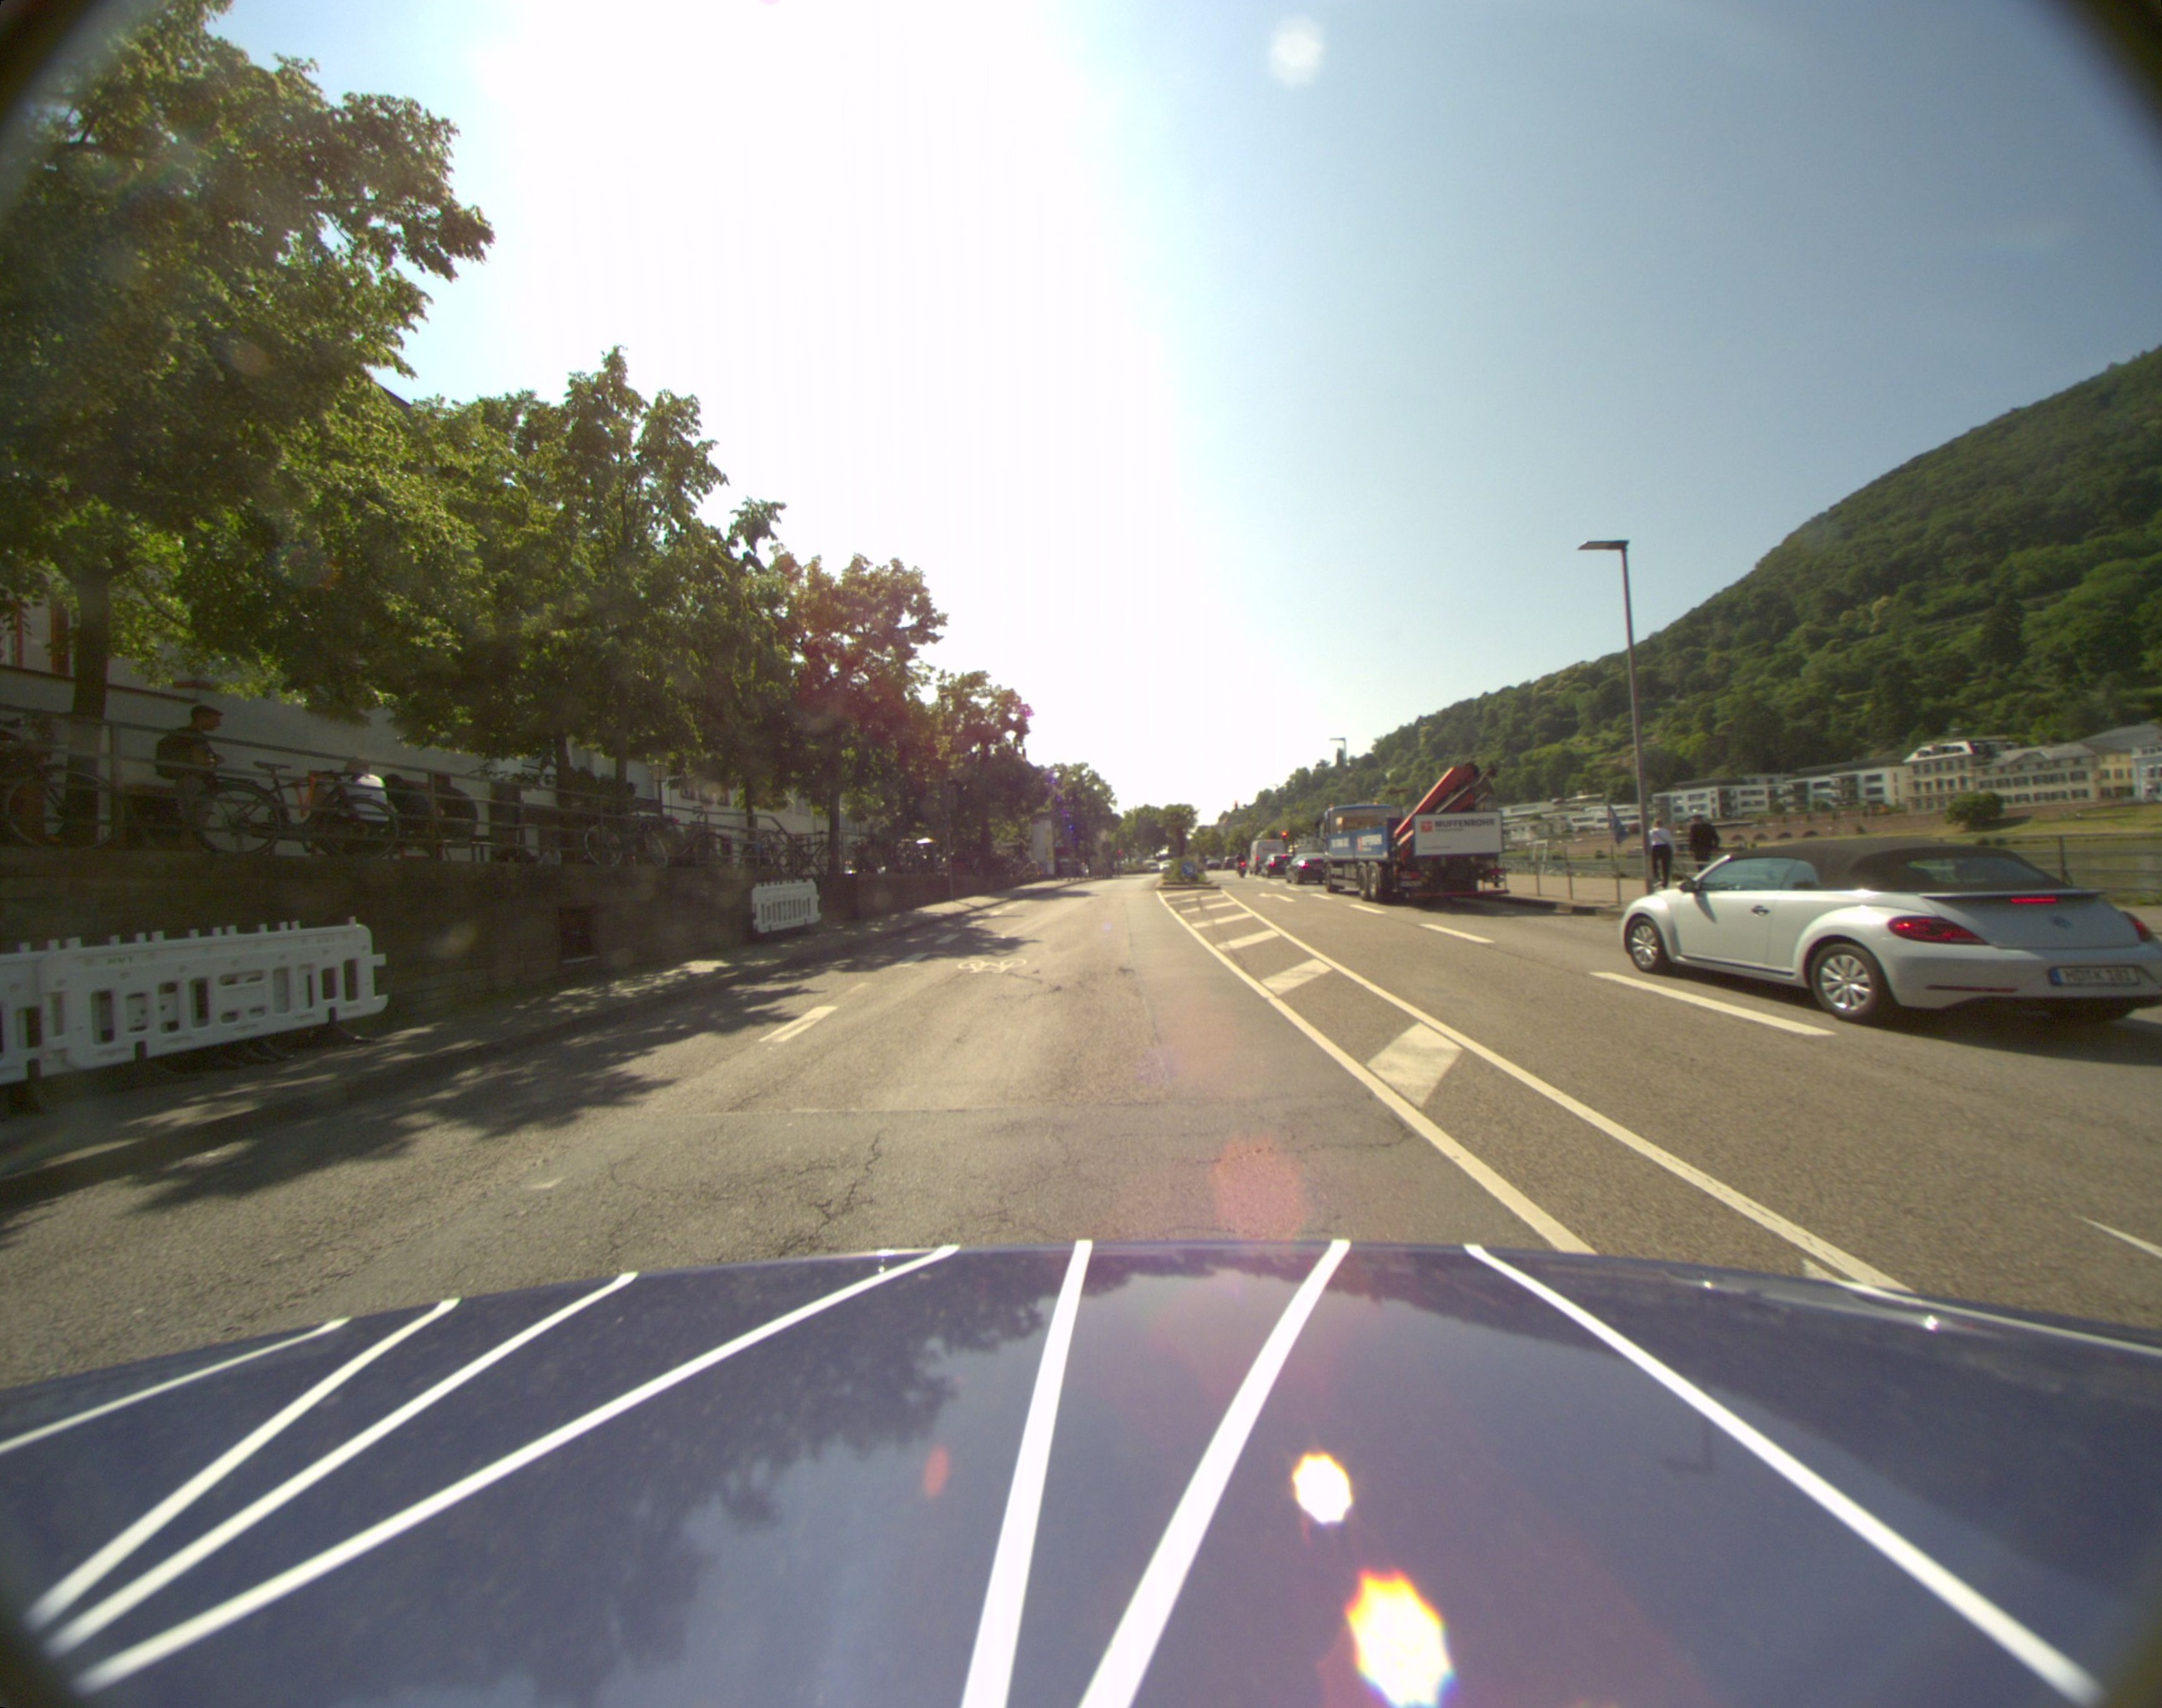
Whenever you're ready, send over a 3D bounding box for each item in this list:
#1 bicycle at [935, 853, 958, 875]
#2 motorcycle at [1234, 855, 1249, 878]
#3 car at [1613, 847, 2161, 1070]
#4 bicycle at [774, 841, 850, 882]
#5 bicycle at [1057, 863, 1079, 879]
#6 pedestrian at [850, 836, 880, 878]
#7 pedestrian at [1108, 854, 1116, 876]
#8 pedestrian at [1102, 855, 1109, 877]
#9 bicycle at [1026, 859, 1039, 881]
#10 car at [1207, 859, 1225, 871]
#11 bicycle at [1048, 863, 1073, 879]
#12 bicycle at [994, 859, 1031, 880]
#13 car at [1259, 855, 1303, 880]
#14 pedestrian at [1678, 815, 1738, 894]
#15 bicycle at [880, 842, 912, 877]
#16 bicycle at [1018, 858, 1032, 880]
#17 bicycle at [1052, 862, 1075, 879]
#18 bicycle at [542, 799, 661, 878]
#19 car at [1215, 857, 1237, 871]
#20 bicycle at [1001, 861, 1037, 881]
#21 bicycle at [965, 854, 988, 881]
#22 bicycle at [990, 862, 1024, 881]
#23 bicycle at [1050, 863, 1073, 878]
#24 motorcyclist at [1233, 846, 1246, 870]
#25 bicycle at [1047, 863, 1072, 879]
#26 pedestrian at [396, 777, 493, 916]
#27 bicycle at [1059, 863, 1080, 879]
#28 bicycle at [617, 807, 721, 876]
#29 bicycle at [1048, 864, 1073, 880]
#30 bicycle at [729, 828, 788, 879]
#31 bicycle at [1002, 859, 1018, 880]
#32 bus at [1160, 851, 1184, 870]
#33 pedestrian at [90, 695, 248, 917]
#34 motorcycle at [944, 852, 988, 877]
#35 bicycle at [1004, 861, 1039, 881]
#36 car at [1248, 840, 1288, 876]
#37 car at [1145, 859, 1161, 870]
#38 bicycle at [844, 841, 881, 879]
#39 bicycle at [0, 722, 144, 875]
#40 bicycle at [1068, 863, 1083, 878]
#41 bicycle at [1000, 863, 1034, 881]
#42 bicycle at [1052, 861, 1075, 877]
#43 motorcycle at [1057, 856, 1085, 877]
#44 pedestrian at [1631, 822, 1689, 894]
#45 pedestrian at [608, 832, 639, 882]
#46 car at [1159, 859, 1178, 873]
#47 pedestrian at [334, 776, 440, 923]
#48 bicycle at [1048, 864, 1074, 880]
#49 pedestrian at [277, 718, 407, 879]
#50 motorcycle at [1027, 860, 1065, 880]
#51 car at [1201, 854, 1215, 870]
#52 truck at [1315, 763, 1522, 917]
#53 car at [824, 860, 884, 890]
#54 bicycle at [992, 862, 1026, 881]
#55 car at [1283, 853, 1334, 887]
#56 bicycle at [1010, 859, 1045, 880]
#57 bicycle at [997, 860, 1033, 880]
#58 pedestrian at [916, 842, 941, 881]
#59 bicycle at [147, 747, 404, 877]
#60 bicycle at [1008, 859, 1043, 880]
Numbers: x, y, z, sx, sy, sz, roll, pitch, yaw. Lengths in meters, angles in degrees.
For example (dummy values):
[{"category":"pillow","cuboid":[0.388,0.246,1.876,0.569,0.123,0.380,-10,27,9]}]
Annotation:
[{"category":"bicycle","cuboid":[-5.006,0.375,28.294,0.350,0.779,1.920,-2,-1,4]},{"category":"motorcycle","cuboid":[10.073,0.790,47.791,0.727,1.379,2.513,-2,0,8]},{"category":"car","cuboid":[7.042,0.695,6.988,1.781,1.435,3.999,-2,0,6]},{"category":"bicycle","cuboid":[-6.918,0.194,19.561,1.858,0.998,0.299,-2,-1,4]},{"category":"bicycle","cuboid":[-1.011,1.272,57.368,1.628,1.163,0.426,-1,-1,25]},{"category":"pedestrian","cuboid":[-6.712,0.097,23.648,0.696,1.257,0.670,-2,0,2]},{"category":"pedestrian","cuboid":[2.548,0.914,61.838,0.541,1.767,0.583,-1,-1,11]},{"category":"pedestrian","cuboid":[2.029,0.985,62.890,0.541,1.767,0.583,-1,-1,5]},{"category":"bicycle","cuboid":[-2.898,0.958,45.327,0.476,1.254,2.163,0,0,4]},{"category":"car","cuboid":[17.667,1.459,99.786,1.907,1.428,3.893,-3,0,5]},{"category":"bicycle","cuboid":[-1.447,1.234,54.398,1.752,1.126,0.464,0,0,2]},{"category":"bicycle","cuboid":[-4.165,0.952,46.000,2.159,1.254,0.477,0,0,6]},{"category":"car","cuboid":[12.238,0.816,46.802,1.997,1.410,4.923,-2,0,7]},{"category":"pedestrian","cuboid":[15.056,0.017,18.261,0.769,1.793,0.636,-5,0,8]},{"category":"bicycle","cuboid":[-5.581,0.179,23.046,0.298,0.998,1.942,-2,-1,5]},{"category":"bicycle","cuboid":[-3.163,0.842,43.082,0.476,1.254,2.163,0,0,4]},{"category":"bicycle","cuboid":[-1.294,1.230,56.416,1.631,1.210,0.414,0,0,2]},{"category":"bicycle","cuboid":[-7.198,-0.214,11.505,0.410,1.099,1.736,-2,0,11]},{"category":"car","cuboid":[16.037,1.096,83.997,1.997,1.444,4.264,-3,-1,7]},{"category":"bicycle","cuboid":[-3.836,1.057,47.264,2.159,1.254,0.477,0,0,6]},{"category":"bicycle","cuboid":[-4.442,0.569,32.427,0.345,1.106,1.920,-2,0,10]},{"category":"bicycle","cuboid":[-4.359,1.041,45.029,1.953,1.094,0.423,0,0,6]},{"category":"bicycle","cuboid":[-1.393,1.201,55.135,1.631,1.126,0.414,0,0,2]},{"category":"motorcyclist","cuboid":[10.032,0.266,48.079,0.703,1.517,0.861,-2,0,8]},{"category":"bicycle","cuboid":[-1.495,1.239,53.962,1.752,1.126,0.464,0,0,2]},{"category":"pedestrian","cuboid":[-8.211,-0.091,9.820,0.720,1.710,0.573,-2,0,6]},{"category":"bicycle","cuboid":[-0.884,1.286,57.649,1.628,1.163,0.367,-1,-1,25]},{"category":"bicycle","cuboid":[-7.093,-0.202,13.196,0.410,1.099,1.926,-2,0,11]},{"category":"bicycle","cuboid":[-1.435,1.245,53.451,1.752,1.126,0.464,0,0,2]},{"category":"bicycle","cuboid":[-7.595,0.003,17.970,0.382,1.133,1.935,-2,-1,5]},{"category":"bicycle","cuboid":[-3.627,0.799,38.829,0.301,1.042,2.164,-1,-1,8]},{"category":"bus","cuboid":[16.715,1.201,139.962,2.656,3.367,10.794,-2,0,-1]},{"category":"pedestrian","cuboid":[-9.435,-0.469,7.888,0.720,2.176,0.712,-2,0,6]},{"category":"motorcycle","cuboid":[-5.212,0.472,34.524,1.920,1.092,0.575,-1,0,-1]},{"category":"bicycle","cuboid":[-3.748,1.059,47.764,2.159,1.254,0.477,0,0,6]},{"category":"car","cuboid":[13.441,0.272,54.873,2.199,2.511,4.751,0,0,6]},{"category":"car","cuboid":[12.689,1.828,134.381,1.999,1.750,4.589,-2,1,-3]},{"category":"bicycle","cuboid":[-6.002,0.175,20.940,0.298,0.998,1.861,-2,-1,5]},{"category":"bicycle","cuboid":[-7.970,-0.397,5.420,0.411,1.099,1.734,-2,0,-1]},{"category":"bicycle","cuboid":[-0.409,1.147,54.189,0.539,1.002,1.756,-2,-1,18]},{"category":"bicycle","cuboid":[-3.945,1.094,46.841,2.027,1.086,0.338,0,0,6]},{"category":"bicycle","cuboid":[-1.271,1.091,55.977,1.631,1.210,0.414,0,0,2]},{"category":"motorcycle","cuboid":[-0.759,0.967,59.078,2.196,1.518,0.800,-2,0,42]},{"category":"pedestrian","cuboid":[14.247,0.098,18.720,0.713,1.696,0.846,-5,0,8]},{"category":"pedestrian","cuboid":[-14.578,0.092,24.205,0.469,1.536,0.608,-4,0,8]},{"category":"car","cuboid":[10.534,1.458,91.092,1.997,1.497,4.596,-2,-2,8]},{"category":"pedestrian","cuboid":[-8.397,-0.047,9.211,0.720,1.710,0.573,-2,0,6]},{"category":"bicycle","cuboid":[-1.392,1.243,52.885,1.753,1.126,0.540,0,0,0]},{"category":"pedestrian","cuboid":[-8.316,-0.594,8.577,0.720,1.710,0.712,-2,0,6]},{"category":"motorcycle","cuboid":[-2.385,1.081,51.270,2.531,1.267,0.725,-2,0,29]},{"category":"car","cuboid":[18.804,1.185,112.790,1.868,2.136,5.026,-3,-1,8]},{"category":"truck","cuboid":[9.464,-0.283,23.055,2.647,3.455,11.114,-2,0,8]},{"category":"car","cuboid":[-14.181,1.349,47.792,1.835,1.789,4.740,-2,-2,7]},{"category":"bicycle","cuboid":[-4.318,1.039,45.496,1.966,1.105,0.477,0,0,6]},{"category":"car","cuboid":[10.656,0.714,35.823,1.660,1.428,4.083,-2,0,8]},{"category":"bicycle","cuboid":[-3.482,1.010,49.325,2.159,1.360,0.584,0,0,6]},{"category":"bicycle","cuboid":[-4.050,0.976,46.455,2.159,1.254,0.421,0,0,6]},{"category":"pedestrian","cuboid":[-5.714,0.279,28.477,0.669,1.406,0.697,-2,0,5]},{"category":"bicycle","cuboid":[-7.683,-0.355,7.378,0.410,1.099,1.736,-2,0,11]},{"category":"bicycle","cuboid":[-3.551,1.007,48.786,2.159,1.360,0.477,0,0,6]}]
